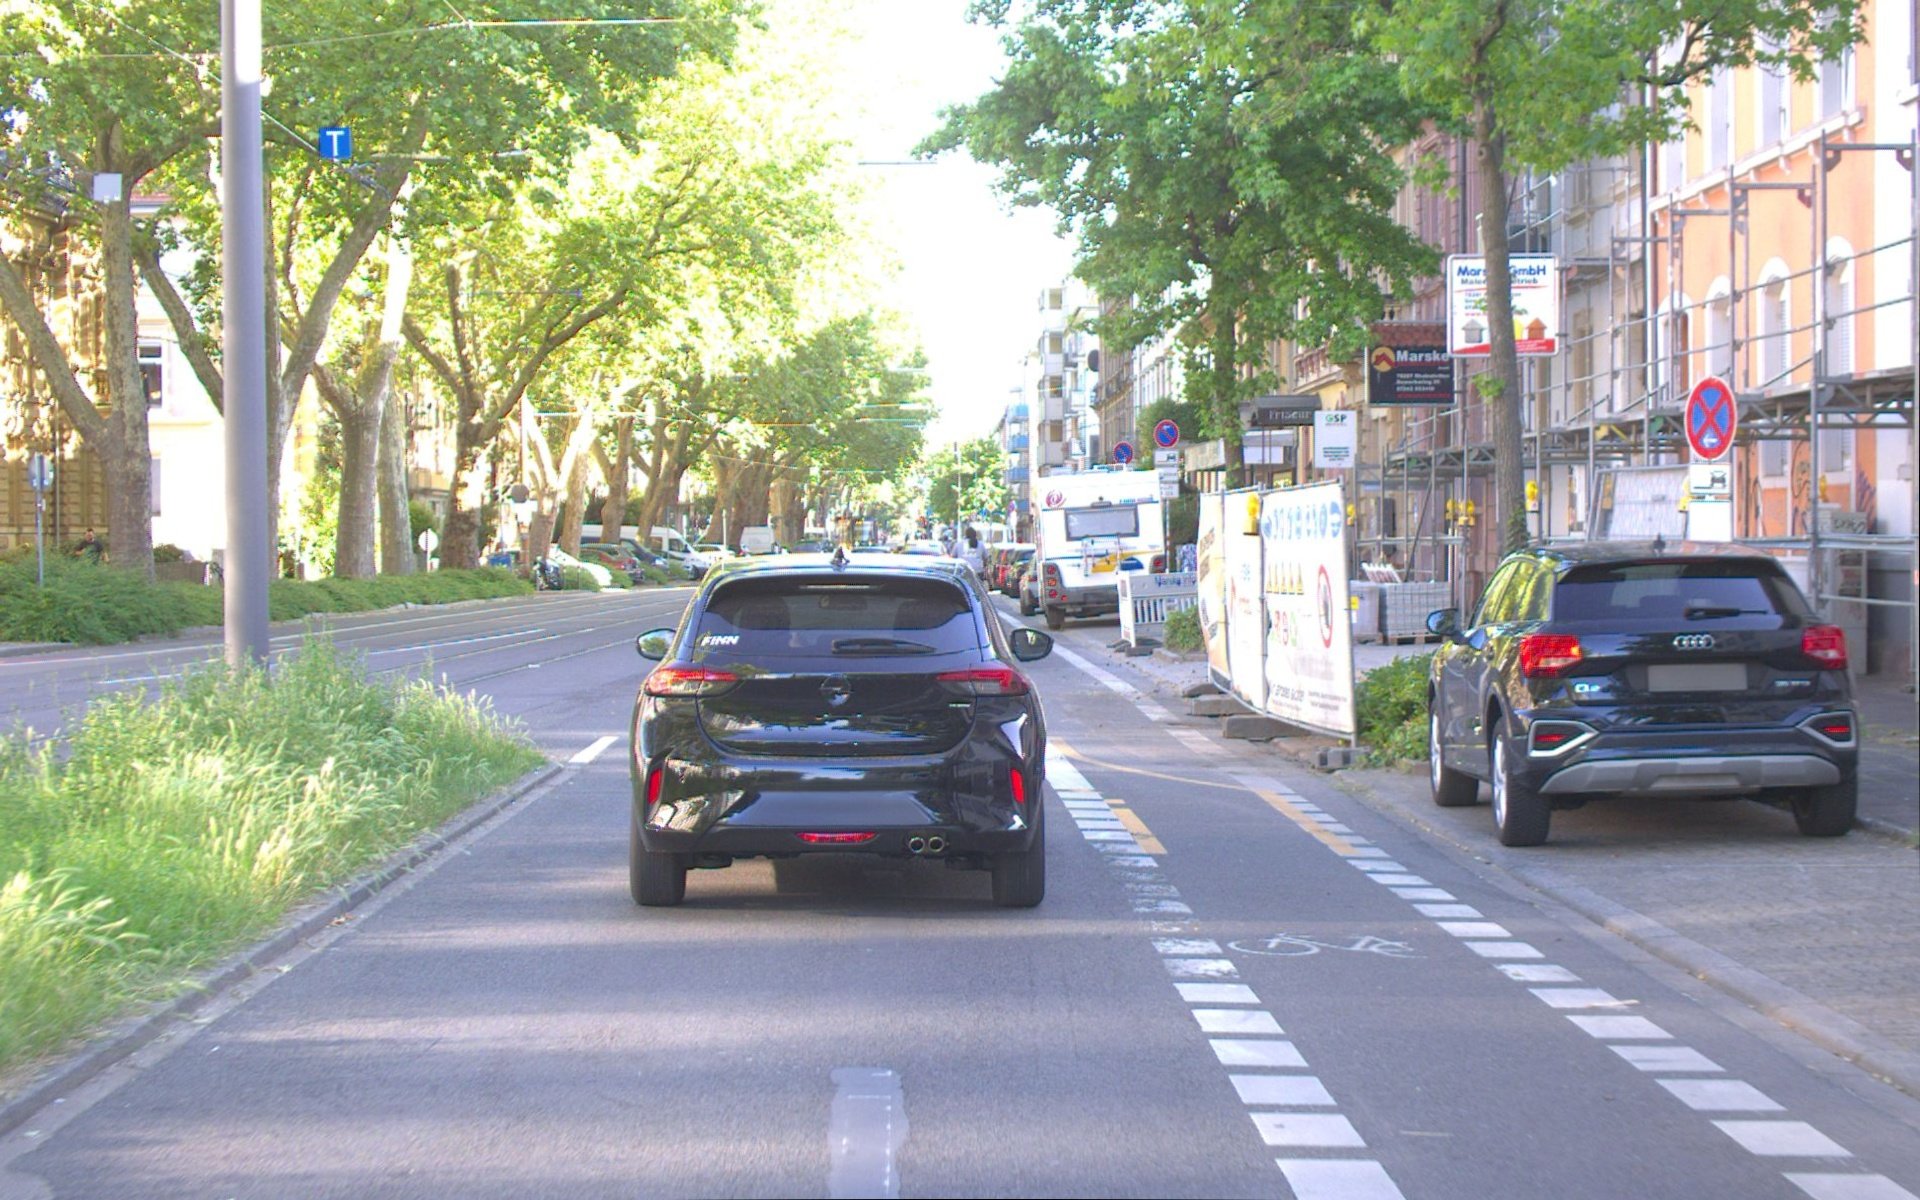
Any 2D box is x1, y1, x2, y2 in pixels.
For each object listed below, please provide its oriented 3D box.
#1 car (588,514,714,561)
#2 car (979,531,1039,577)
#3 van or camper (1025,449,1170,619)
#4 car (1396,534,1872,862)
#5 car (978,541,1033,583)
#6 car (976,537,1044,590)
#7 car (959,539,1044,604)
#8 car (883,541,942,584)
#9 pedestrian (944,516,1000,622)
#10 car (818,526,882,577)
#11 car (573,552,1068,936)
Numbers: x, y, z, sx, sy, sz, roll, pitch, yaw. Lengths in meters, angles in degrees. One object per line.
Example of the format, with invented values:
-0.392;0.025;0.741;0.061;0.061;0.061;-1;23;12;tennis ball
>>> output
-14.433;-2.935;160.734;5.687;2.190;2.289;0;1;0;car
1.582;-1.512;111.052;1.905;1.420;4.215;0;2;1;car
2.529;-1.247;64.673;2.486;2.983;5.434;2;1;1;van or camper
3.481;0.434;18.443;1.790;1.505;3.874;-1;1;1;car
1.640;-1.373;122.079;1.905;1.420;4.215;0;2;1;car
1.433;-1.060;98.555;1.905;1.420;4.215;0;2;1;car
0.968;-0.676;79.254;1.905;1.420;4.215;0;2;1;car
-1.648;-1.322;120.411;1.905;1.420;4.215;0;2;1;car
0.219;-0.603;66.243;1.036;2.017;1.212;0;1;-1;pedestrian
-3.394;-1.522;106.801;1.790;1.505;3.874;-1;1;1;car
-0.498;0.525;15.346;1.905;1.420;4.215;0;2;1;car
